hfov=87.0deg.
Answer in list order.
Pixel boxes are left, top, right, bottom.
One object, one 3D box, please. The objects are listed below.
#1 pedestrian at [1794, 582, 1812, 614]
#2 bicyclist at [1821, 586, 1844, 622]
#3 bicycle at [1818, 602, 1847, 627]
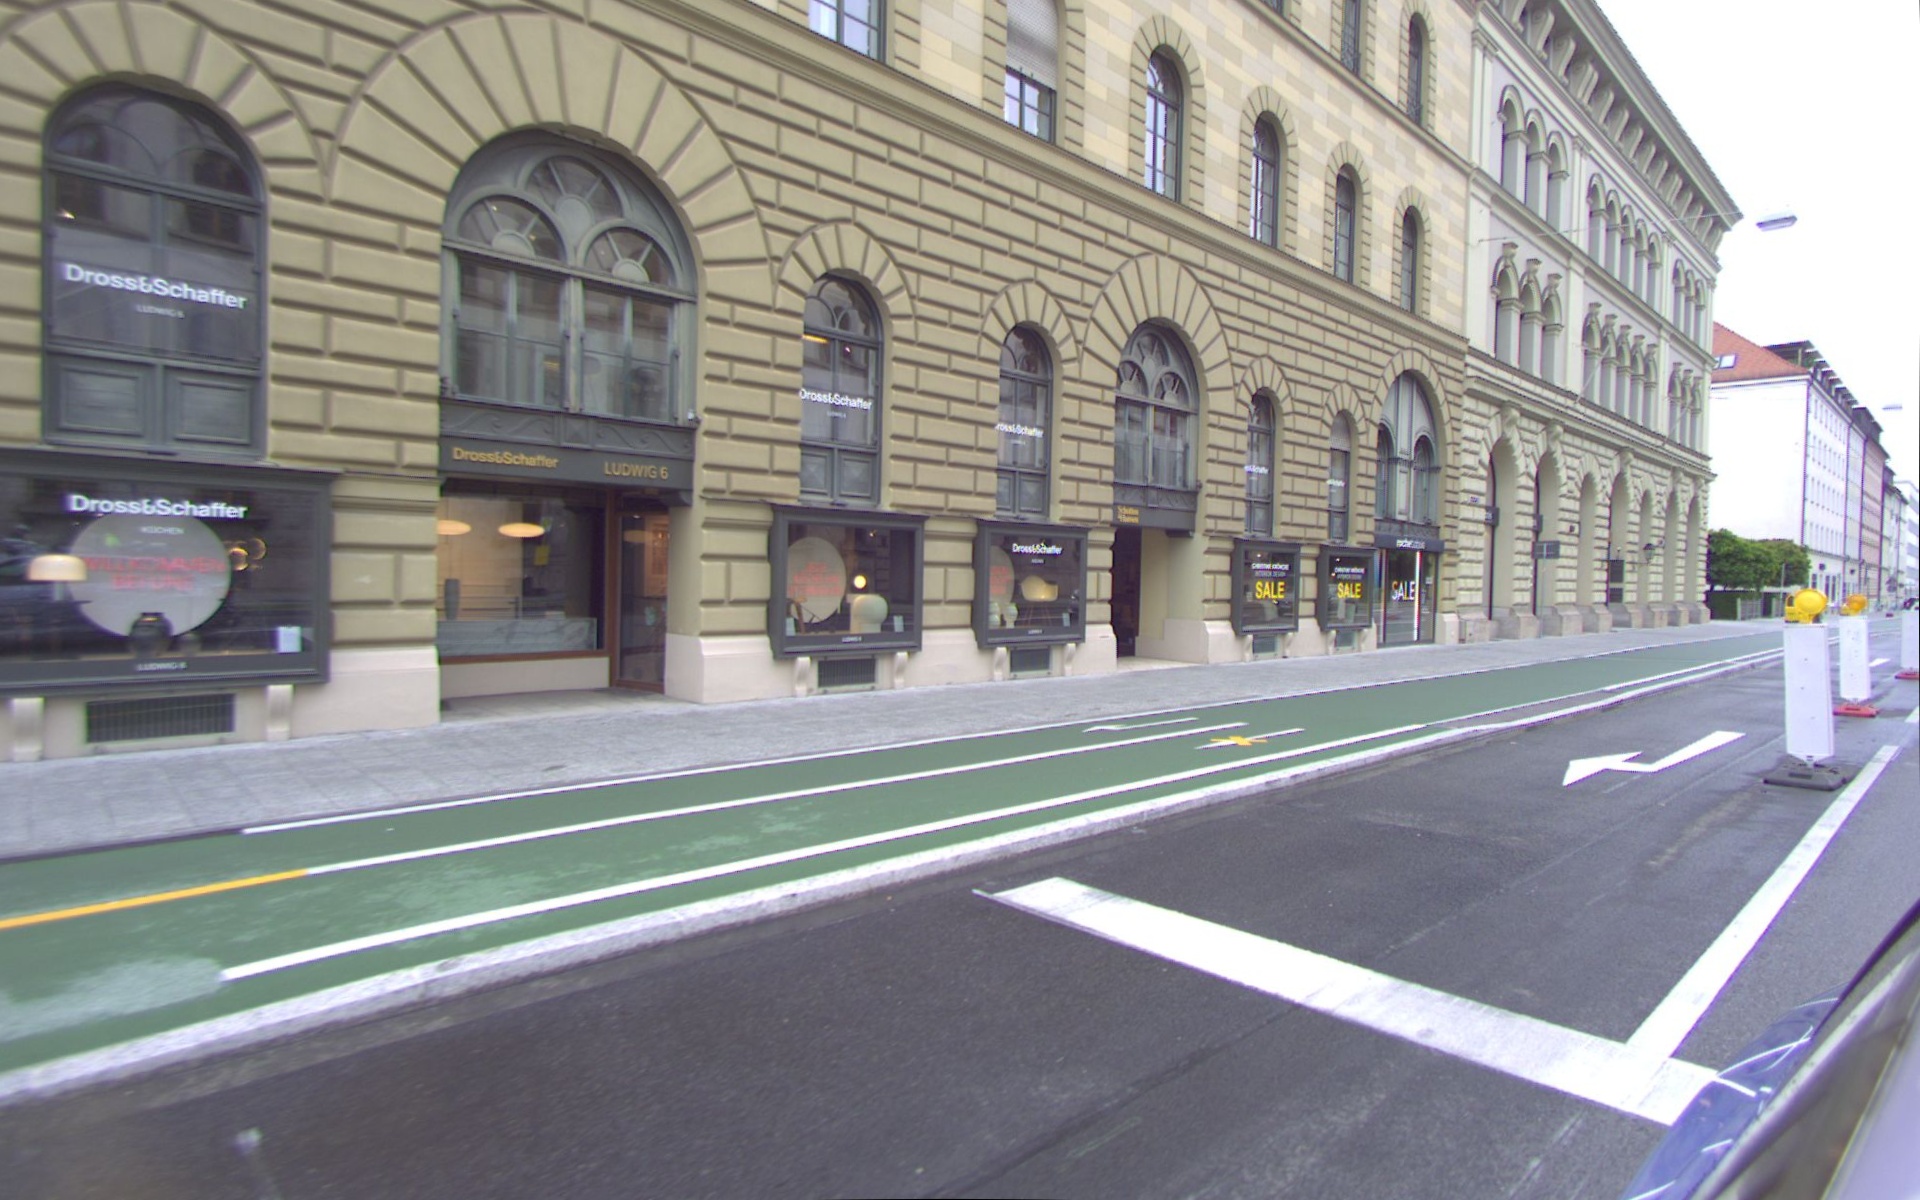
[{"bbox_3d":[51.163,-0.133,61.430,0.812,1.897,0.654,0,2,-43],"label":"pedestrian"},{"bbox_3d":[38.937,0.164,45.157,0.844,1.572,0.723,0,0,-43],"label":"bicyclist"},{"bbox_3d":[38.919,0.632,45.130,2.489,1.045,0.749,0,0,-44],"label":"bicycle"}]
